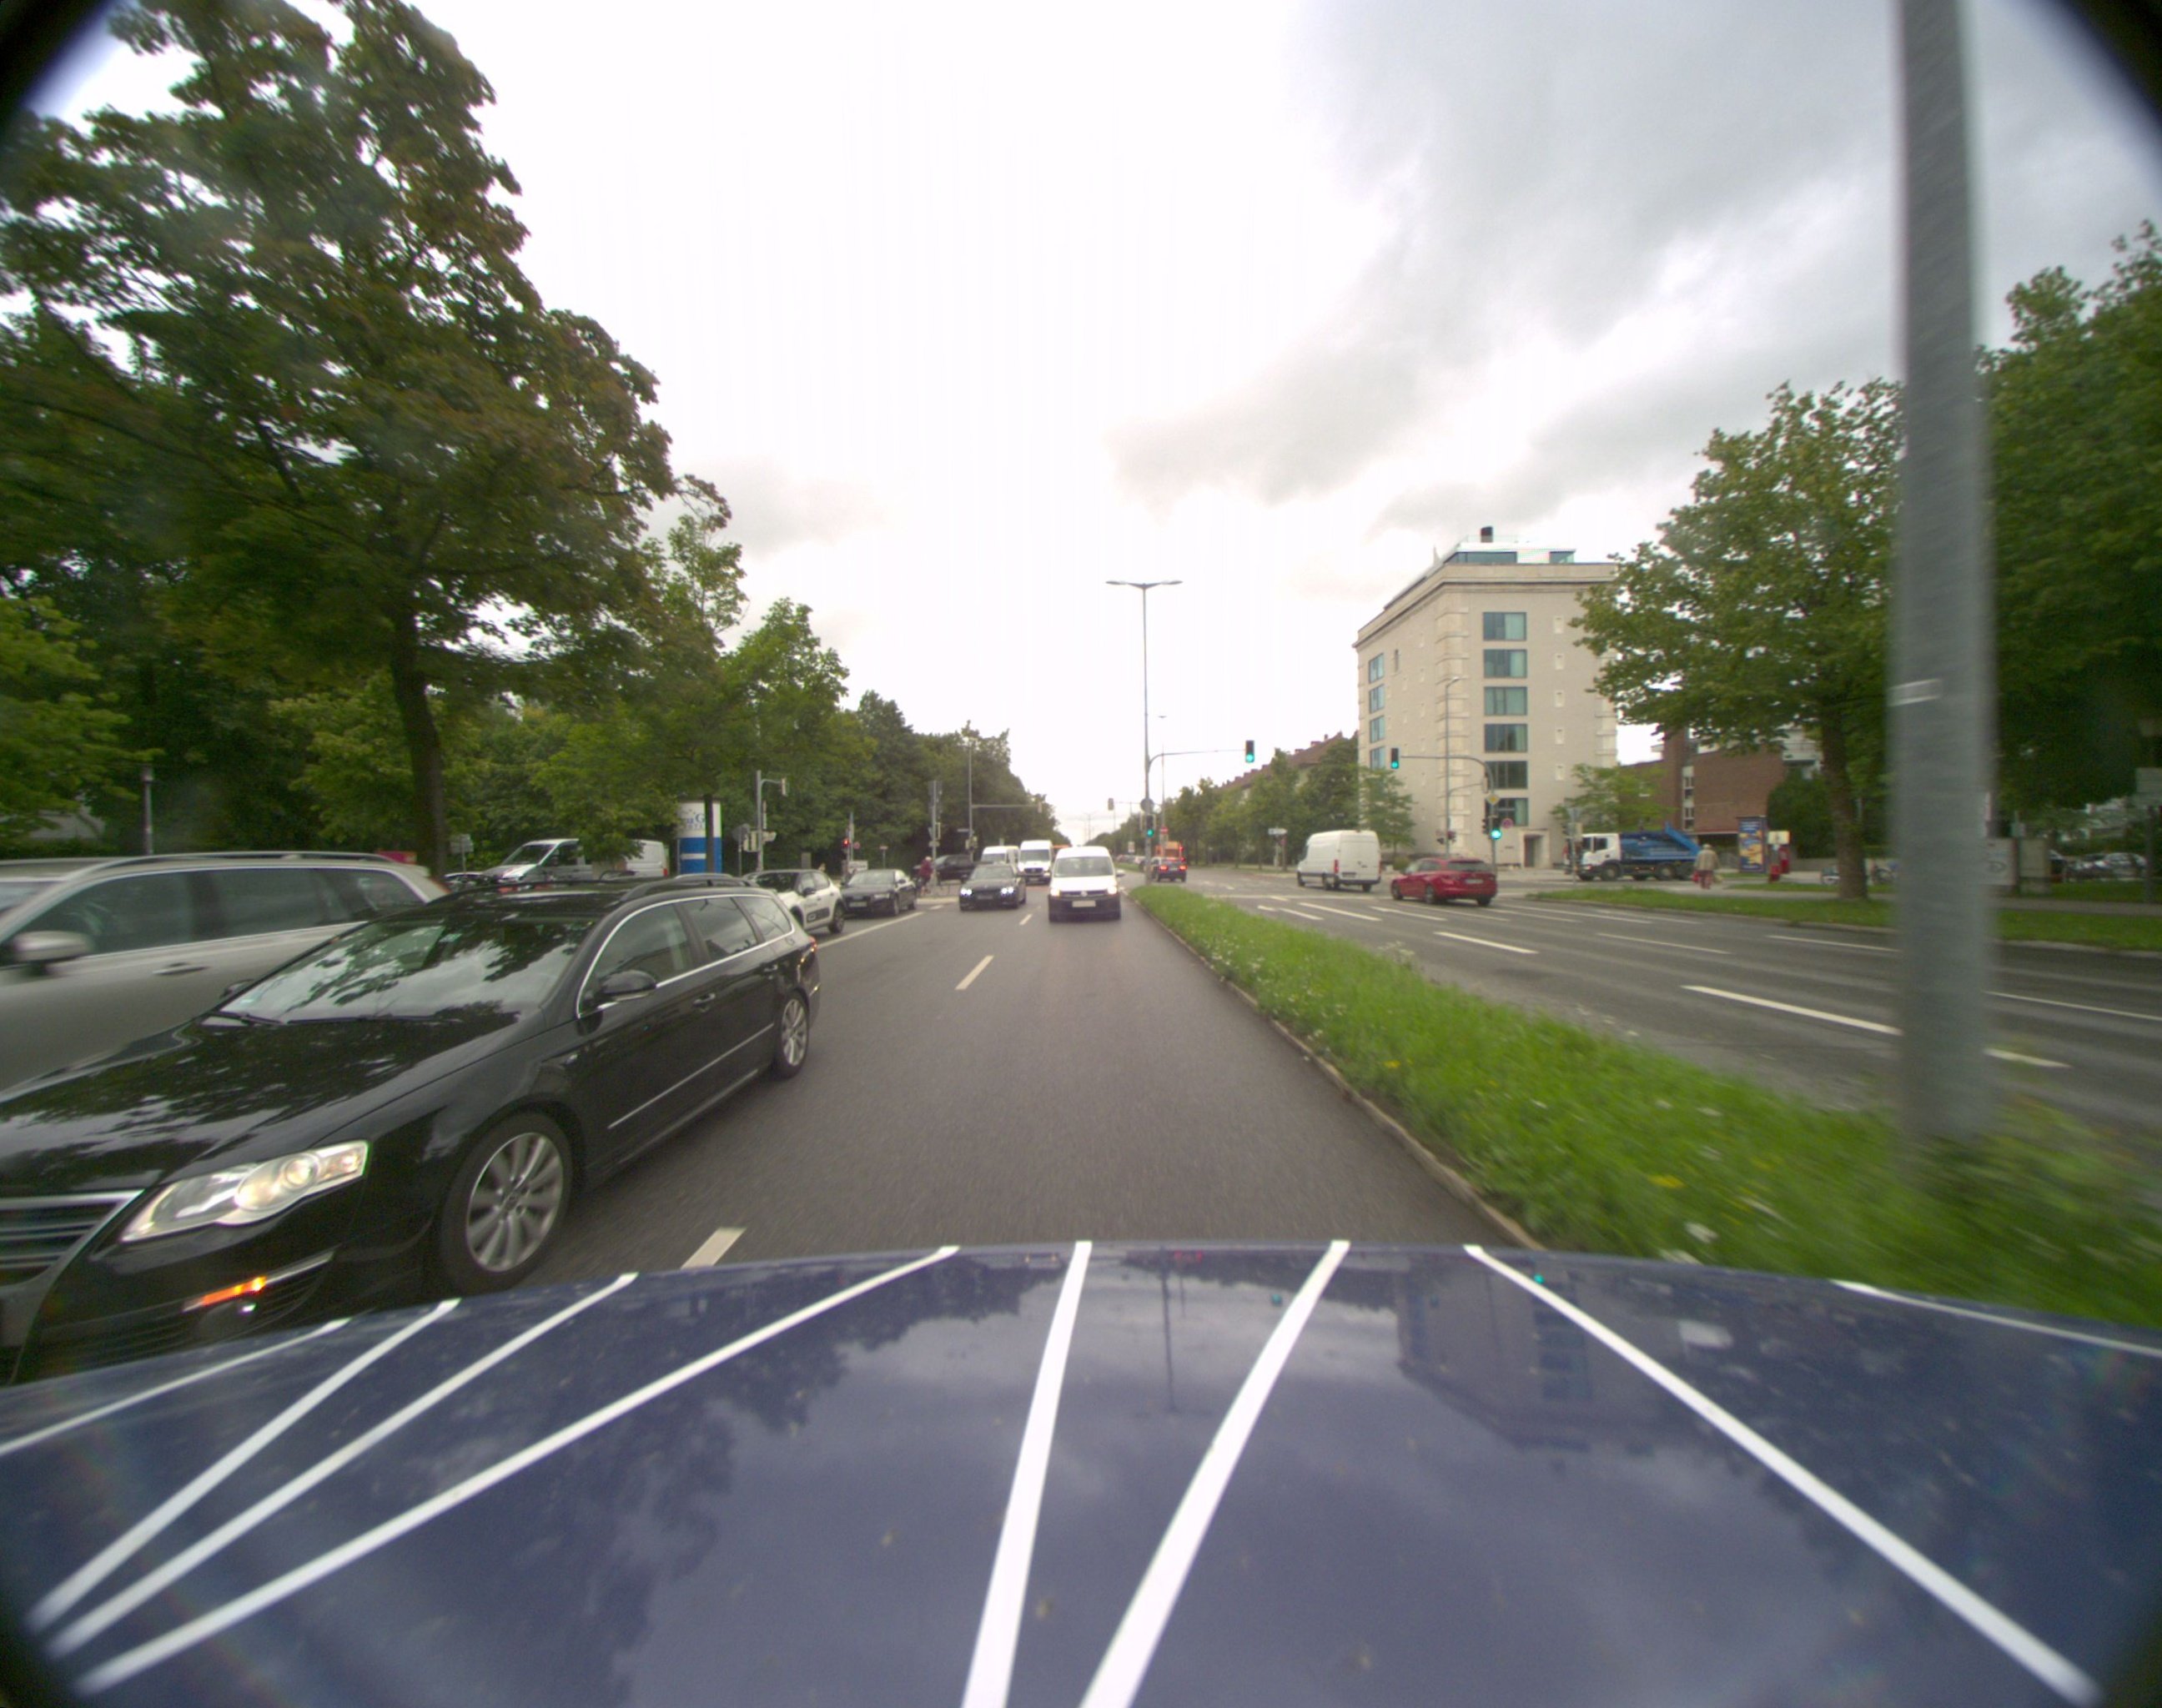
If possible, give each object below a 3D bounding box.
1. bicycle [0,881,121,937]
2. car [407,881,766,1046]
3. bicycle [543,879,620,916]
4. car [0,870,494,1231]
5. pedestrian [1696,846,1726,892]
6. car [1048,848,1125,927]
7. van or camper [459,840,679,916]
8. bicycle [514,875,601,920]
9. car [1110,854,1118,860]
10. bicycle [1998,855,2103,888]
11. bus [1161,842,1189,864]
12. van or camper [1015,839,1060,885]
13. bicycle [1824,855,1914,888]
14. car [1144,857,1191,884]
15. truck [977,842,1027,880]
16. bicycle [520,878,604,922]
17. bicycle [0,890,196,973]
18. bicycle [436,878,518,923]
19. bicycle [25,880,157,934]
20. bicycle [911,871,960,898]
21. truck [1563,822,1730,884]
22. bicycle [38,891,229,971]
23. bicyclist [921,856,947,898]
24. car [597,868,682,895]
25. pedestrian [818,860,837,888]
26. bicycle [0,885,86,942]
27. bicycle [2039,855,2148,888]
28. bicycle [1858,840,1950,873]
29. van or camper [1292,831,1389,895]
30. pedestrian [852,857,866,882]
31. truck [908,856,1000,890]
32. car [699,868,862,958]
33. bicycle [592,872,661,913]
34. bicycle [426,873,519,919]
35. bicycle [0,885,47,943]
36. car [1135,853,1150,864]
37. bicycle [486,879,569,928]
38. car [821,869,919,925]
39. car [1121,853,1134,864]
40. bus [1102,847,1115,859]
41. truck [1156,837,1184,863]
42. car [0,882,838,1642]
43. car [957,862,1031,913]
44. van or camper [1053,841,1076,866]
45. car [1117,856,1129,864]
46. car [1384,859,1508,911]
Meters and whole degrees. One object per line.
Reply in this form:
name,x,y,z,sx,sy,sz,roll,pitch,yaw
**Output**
bicycle,-22.903,1.212,16.935,2.344,1.151,0.529,1,0,0
car,-6.137,1.231,10.273,1.752,1.538,4.642,-2,0,0
bicycle,-14.714,1.275,22.408,1.812,1.065,0.567,1,1,-11
car,-6.157,1.012,4.299,1.752,1.714,4.906,-2,0,1
pedestrian,24.253,0.582,29.256,0.709,1.730,0.517,-1,1,-4
car,0.118,0.765,20.007,1.752,1.808,4.671,-1,0,0
van or camper,-17.191,0.717,26.085,2.144,2.283,6.207,-1,0,18
bicycle,-14.553,1.201,21.159,1.946,1.205,0.567,1,1,-11
car,7.881,0.714,181.479,1.702,1.560,4.290,-1,0,-2
bicycle,37.425,0.657,29.399,0.837,1.179,2.496,-1,0,-1
bus,14.886,-0.170,120.910,2.752,3.324,12.047,0,0,-1
van or camper,-2.538,0.442,45.857,2.183,2.546,7.074,-1,0,1
bicycle,30.097,0.635,29.095,0.837,1.179,2.496,-1,0,-1
car,5.006,0.945,44.387,1.645,1.478,3.777,-1,0,-10
truck,-5.790,0.467,56.968,1.997,2.588,7.230,-2,0,8
bicycle,-14.031,1.234,20.577,1.812,1.136,0.567,1,1,-11
bicycle,-14.802,1.154,11.434,2.344,1.151,0.529,1,0,0
bicycle,-15.849,1.208,19.952,1.810,1.136,0.567,1,1,6
bicycle,-22.825,1.209,17.527,2.344,1.151,0.529,1,0,0
bicycle,-6.268,1.312,32.762,1.951,1.075,0.746,-1,1,-35
truck,33.831,-0.064,45.687,7.816,3.468,2.773,-1,0,3
bicycle,-14.916,1.197,11.986,2.344,1.151,0.529,1,0,0
bicyclist,-6.319,0.963,32.729,0.829,1.754,0.744,-1,1,-35
car,-25.864,1.586,44.595,3.949,1.445,1.626,-1,0,-7
pedestrian,-14.255,1.112,42.697,0.691,1.529,0.738,-1,1,20
bicycle,-22.918,1.267,16.344,2.344,1.151,0.529,1,0,0
bicycle,38.580,0.654,29.018,0.837,1.179,2.496,-1,0,-1
bicycle,31.529,0.089,29.173,0.837,1.179,2.496,-1,0,-1
van or camper,11.741,0.387,35.047,2.183,2.631,6.951,1,0,1
pedestrian,-15.422,1.076,52.814,0.762,1.693,0.938,-1,1,-9
truck,-8.231,1.207,49.620,2.100,2.002,5.824,-1,0,43
car,-6.147,1.127,16.129,1.717,1.538,4.381,-1,0,-1
bicycle,-14.314,1.197,24.011,0.863,1.191,2.000,1,0,5
bicycle,-16.662,1.148,20.833,1.946,1.205,0.567,1,1,-11
bicycle,-22.978,1.215,15.759,2.344,1.151,0.529,1,0,0
car,8.405,0.640,104.549,1.732,1.478,4.742,-1,0,0
bicycle,-13.916,1.230,19.108,1.809,1.136,0.568,1,1,10
car,-6.176,1.198,22.793,1.715,1.352,4.620,-2,0,-1
car,7.243,0.656,118.721,1.867,1.533,4.749,3,0,1
bus,7.543,-0.294,208.671,2.752,3.324,12.271,0,0,-1
truck,11.578,-0.511,99.070,2.787,3.336,7.265,-1,0,0
car,-2.888,0.996,3.972,1.752,1.466,4.670,-2,0,-1
car,-2.782,1.052,25.362,1.819,1.421,4.671,-2,0,1
van or camper,-2.190,-0.021,103.177,2.780,3.219,7.074,-1,0,1
car,7.813,1.077,143.266,1.931,1.453,4.898,1,0,-1
car,11.469,0.917,24.273,1.747,1.443,4.657,1,0,0
